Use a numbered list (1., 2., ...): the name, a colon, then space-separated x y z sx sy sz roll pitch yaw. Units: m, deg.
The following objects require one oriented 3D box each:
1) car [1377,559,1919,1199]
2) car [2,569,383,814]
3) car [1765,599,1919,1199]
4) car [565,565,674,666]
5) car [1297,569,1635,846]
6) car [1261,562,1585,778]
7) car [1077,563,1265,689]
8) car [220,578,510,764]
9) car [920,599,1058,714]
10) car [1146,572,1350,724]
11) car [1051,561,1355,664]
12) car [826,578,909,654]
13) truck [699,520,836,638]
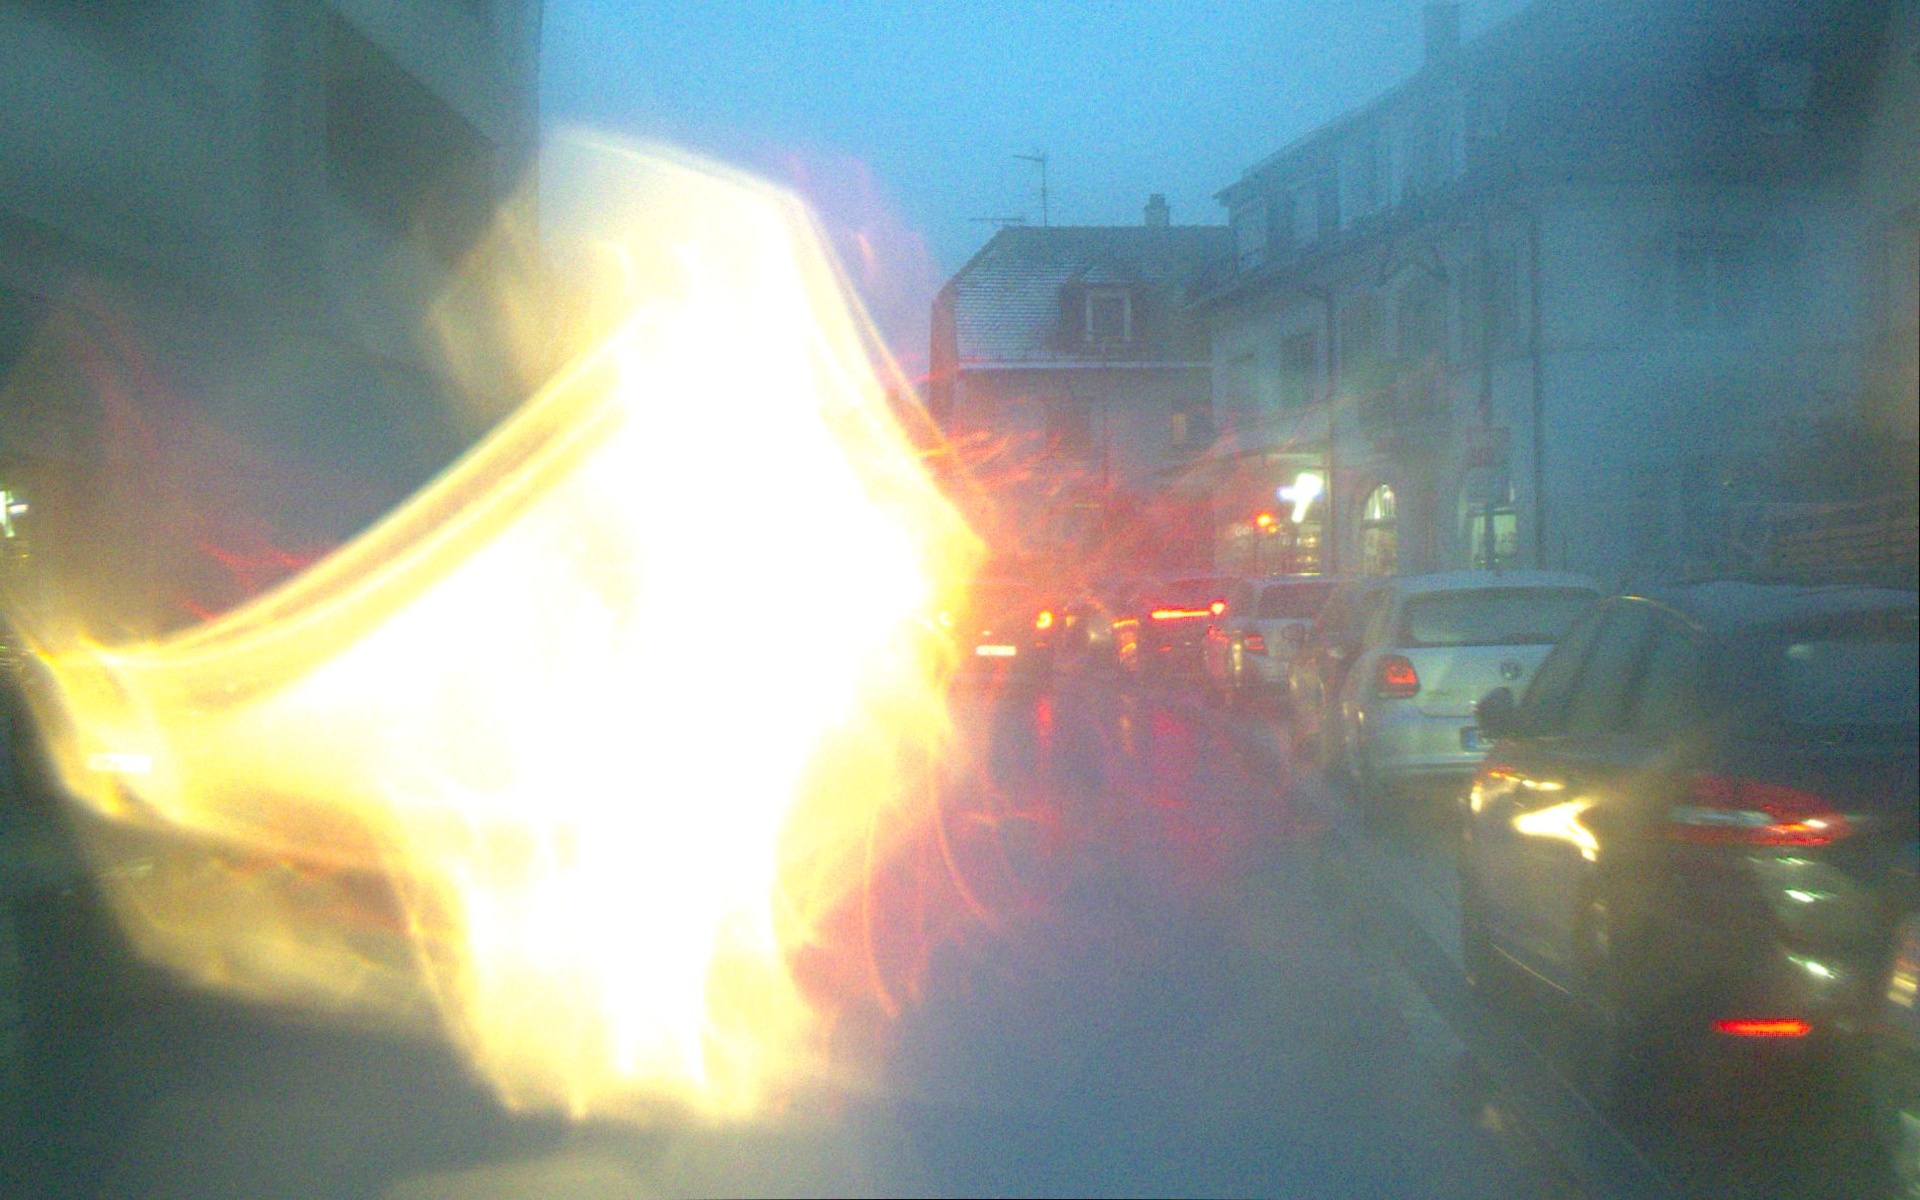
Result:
1. car: 2.435 0.668 10.389 1.764 1.521 4.390 -3 0 0
2. car: -5.239 0.569 23.940 1.615 1.527 3.928 1 0 2
3. car: 2.528 0.710 5.191 1.732 1.454 4.000 -3 0 2
4. car: -5.907 0.243 59.437 1.794 1.637 3.813 1 1 -6
5. car: 2.935 0.575 20.613 1.626 1.436 3.799 -3 0 4
6. car: 3.428 0.478 26.287 1.823 1.418 4.608 -3 0 0
7. car: 2.763 0.305 45.969 1.882 1.541 4.672 -1 1 -4
8. car: -5.026 0.549 29.562 1.675 1.441 4.428 1 0 0
9. car: 0.359 0.737 46.512 1.638 1.476 3.379 1 0 -3
10. car: 3.032 0.471 36.977 1.794 1.455 4.531 -3 0 1
11. car: 3.814 0.181 54.290 4.466 1.468 1.898 -2 1 -7
12. car: -1.933 0.312 70.838 1.638 1.476 3.271 1 1 -2
13. truck: -5.459 -0.588 96.064 3.014 3.118 8.002 1 0 -9
